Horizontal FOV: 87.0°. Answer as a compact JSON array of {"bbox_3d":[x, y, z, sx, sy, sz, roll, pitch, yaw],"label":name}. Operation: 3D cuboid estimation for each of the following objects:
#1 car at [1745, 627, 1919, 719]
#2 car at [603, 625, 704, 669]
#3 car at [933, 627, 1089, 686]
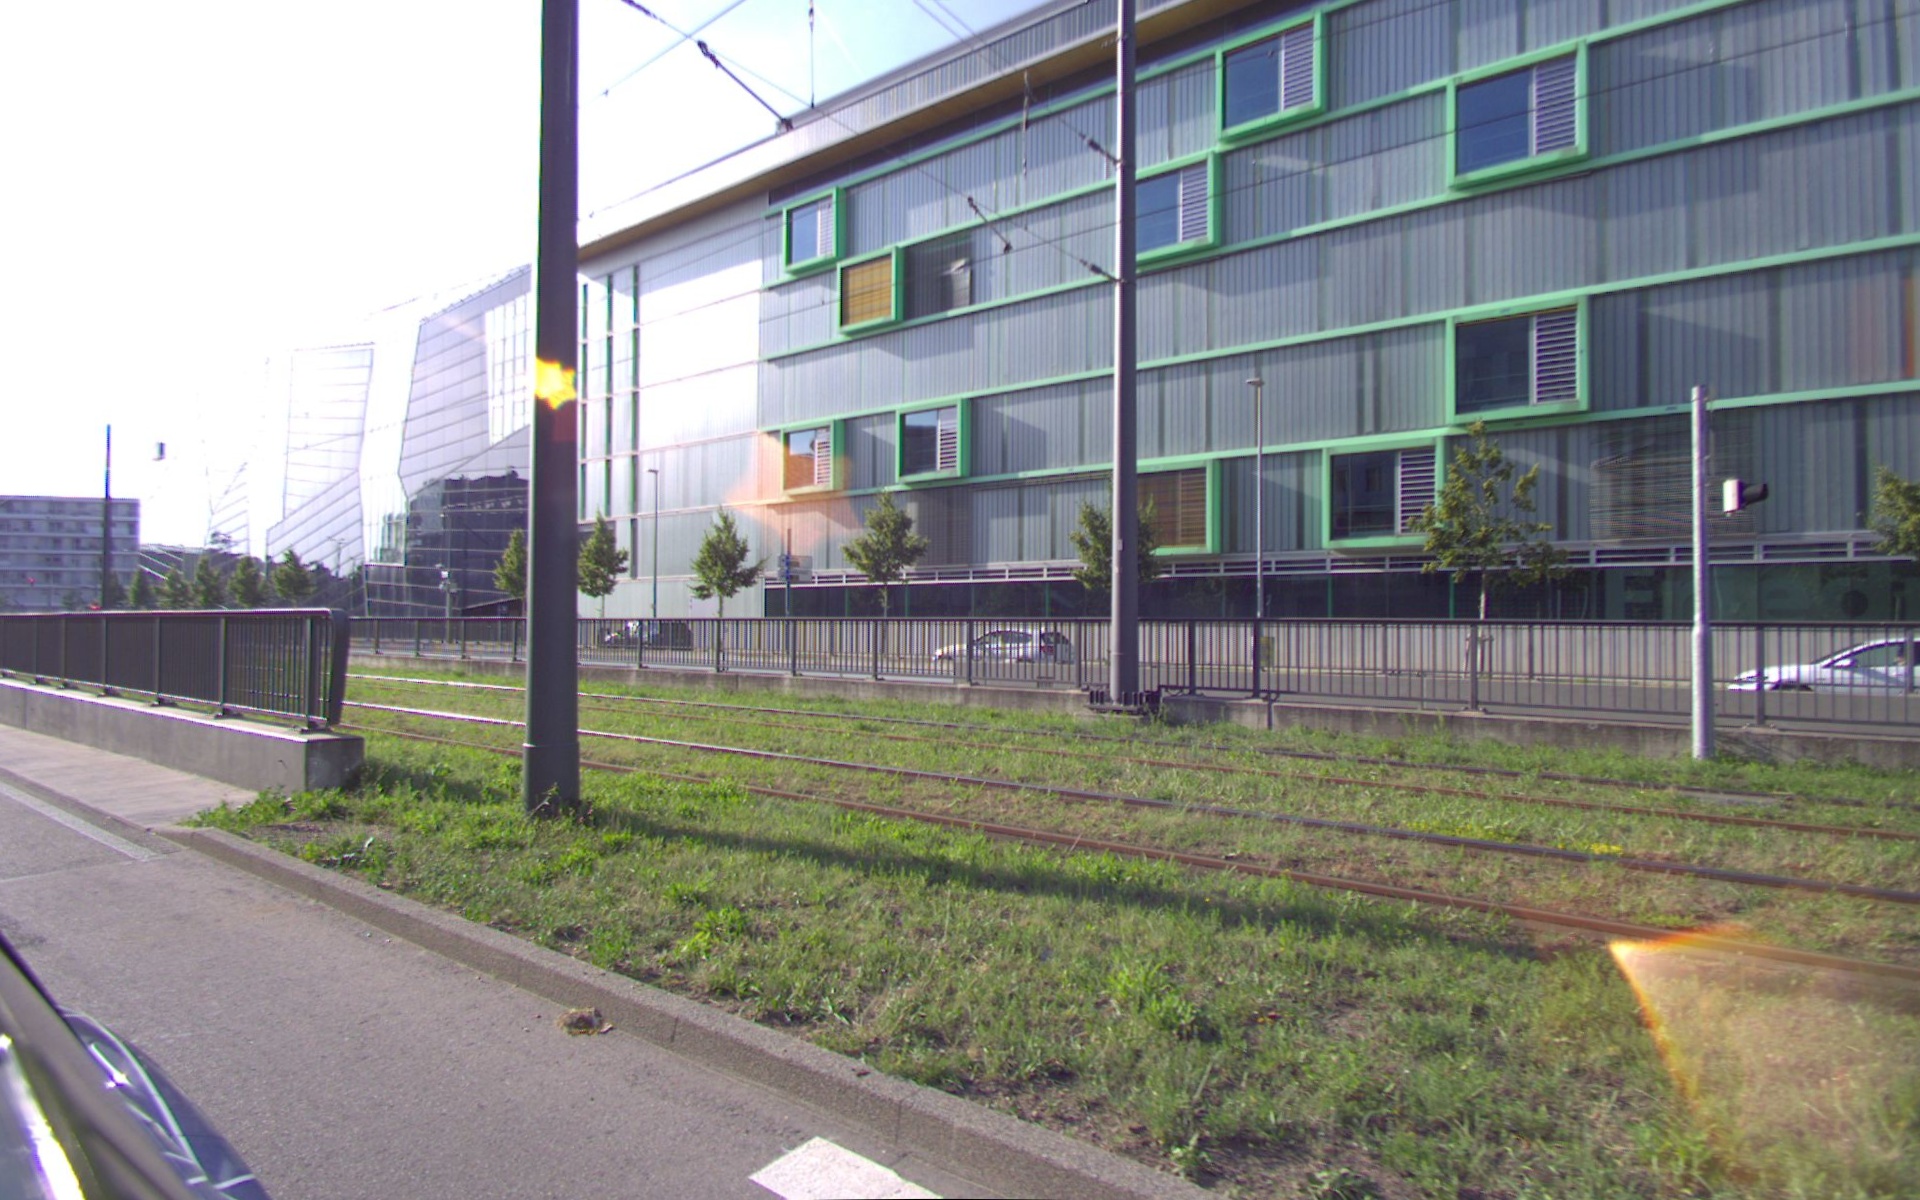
[{"bbox_3d":[15.551,1.165,16.582,4.179,1.433,1.644,-1,-2,37],"label":"car"},{"bbox_3d":[-11.886,1.783,39.113,4.022,1.619,1.753,-1,-2,38],"label":"car"},{"bbox_3d":[1.349,1.509,27.746,4.023,1.498,1.753,-1,-2,38],"label":"car"}]
